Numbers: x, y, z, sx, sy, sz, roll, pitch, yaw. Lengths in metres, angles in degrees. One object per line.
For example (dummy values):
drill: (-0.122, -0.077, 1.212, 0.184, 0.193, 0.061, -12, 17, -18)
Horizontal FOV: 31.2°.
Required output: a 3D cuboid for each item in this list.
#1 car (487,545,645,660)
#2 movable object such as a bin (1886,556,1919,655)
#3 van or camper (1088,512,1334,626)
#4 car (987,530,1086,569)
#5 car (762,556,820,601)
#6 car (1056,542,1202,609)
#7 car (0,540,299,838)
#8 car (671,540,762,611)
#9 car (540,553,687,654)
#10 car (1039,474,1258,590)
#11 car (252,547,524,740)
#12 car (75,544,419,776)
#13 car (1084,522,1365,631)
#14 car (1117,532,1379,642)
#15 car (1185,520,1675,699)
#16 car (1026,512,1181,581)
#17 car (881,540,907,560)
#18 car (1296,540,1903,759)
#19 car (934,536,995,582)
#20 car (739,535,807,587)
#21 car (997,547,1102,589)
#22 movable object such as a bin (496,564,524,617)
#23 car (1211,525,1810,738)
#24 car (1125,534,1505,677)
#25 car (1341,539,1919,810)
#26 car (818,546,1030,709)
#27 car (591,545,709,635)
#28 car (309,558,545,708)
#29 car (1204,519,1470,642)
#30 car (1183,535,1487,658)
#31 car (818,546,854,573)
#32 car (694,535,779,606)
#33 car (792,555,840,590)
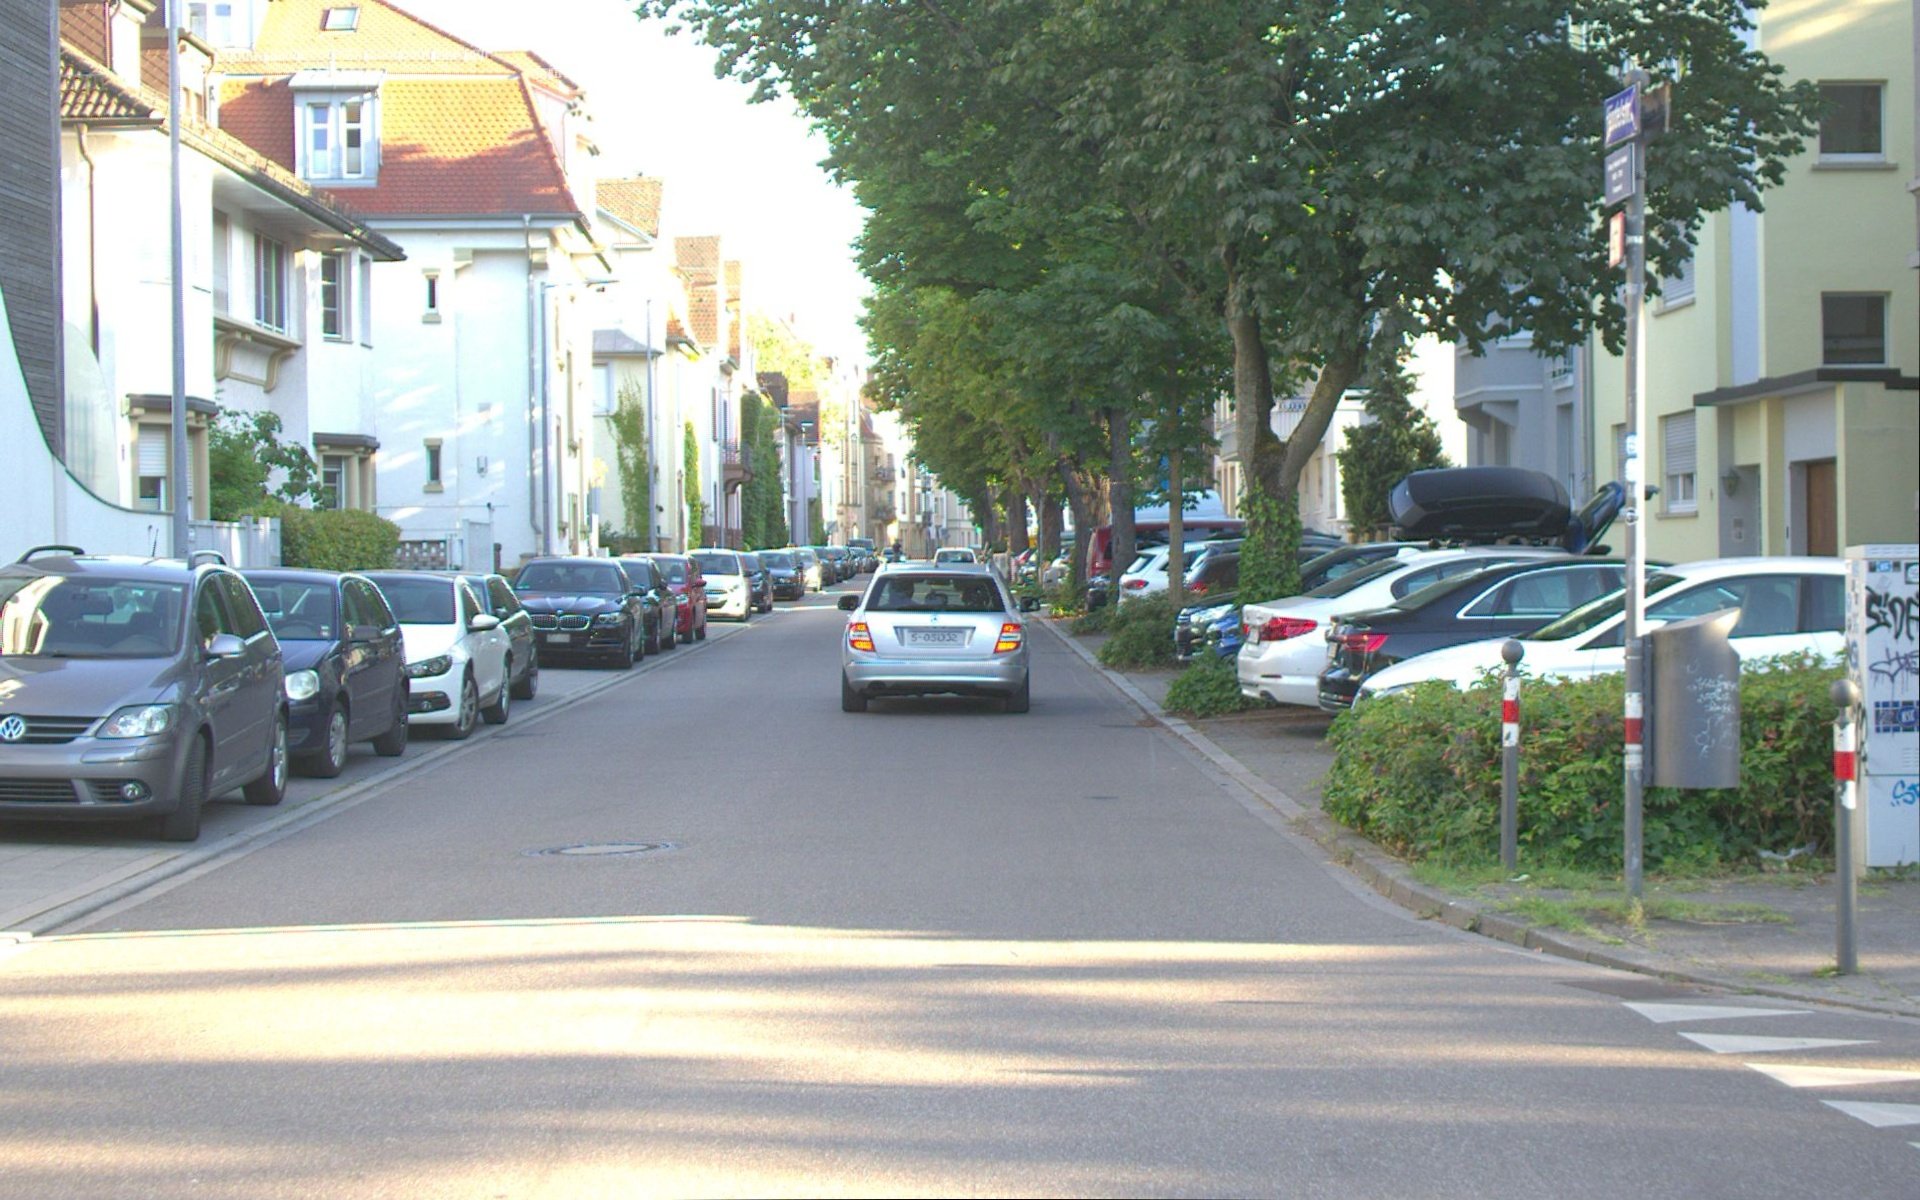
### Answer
car: (-5.341, 0.011, 47.053, 1.854, 1.492, 4.656, 0, 1, -3)
movable object such as a bin: (10.427, 0.061, 37.604, 0.456, 1.082, 0.532, 0, 0, 0)
van or camper: (4.456, -0.564, 61.438, 4.313, 2.007, 2.000, 0, 1, 3)
car: (2.980, -1.979, 134.059, 3.844, 1.477, 1.805, -1, 1, 1)
car: (-5.748, -0.753, 117.333, 1.799, 1.477, 3.857, 0, 1, 0)
car: (4.319, -0.646, 88.301, 3.594, 1.654, 1.650, -1, 1, -2)
car: (-5.188, 0.453, 20.450, 1.884, 1.585, 4.091, 0, 1, -2)
car: (-5.186, -0.528, 73.438, 1.659, 1.494, 3.754, 0, 1, 0)
car: (-5.315, 0.024, 53.215, 1.783, 1.492, 4.700, 0, 1, 0)
car: (4.953, -1.796, 91.091, 5.541, 2.958, 2.472, -1, 1, -2)
car: (-4.980, 0.331, 30.432, 1.884, 1.585, 4.091, 0, 1, -2)
car: (-5.240, 0.386, 25.766, 1.884, 1.585, 4.091, 0, 1, -2)
car: (4.473, -0.406, 58.627, 4.625, 1.830, 1.954, 0, 1, 0)
car: (4.290, -0.205, 51.565, 3.730, 1.553, 1.725, -1, 1, -1)
car: (4.571, 0.079, 33.910, 4.526, 1.635, 1.874, -1, 1, -1)
car: (4.310, -1.628, 104.159, 4.518, 2.007, 2.251, -1, 1, -2)
car: (-4.766, -3.598, 247.051, 1.799, 1.382, 3.606, 0, 1, 0)
car: (4.677, 0.343, 25.529, 4.142, 1.443, 1.673, -2, 1, -1)
car: (0.166, -1.343, 114.168, 1.817, 1.468, 4.216, -1, 0, 2)
car: (-5.473, -1.154, 100.869, 1.799, 1.477, 3.857, 0, 1, 0)
car: (3.327, -1.192, 127.887, 3.844, 1.477, 1.805, -1, 1, 1)
movable object such as a bin: (-9.505, -0.202, 72.663, 0.527, 1.103, 0.589, 0, 0, 0)
car: (4.465, 0.223, 28.270, 4.476, 1.520, 1.954, -2, 2, -6)
car: (4.101, 0.048, 40.201, 4.190, 1.553, 1.874, -1, 1, -1)
car: (4.452, 0.408, 20.725, 4.048, 1.500, 1.862, -1, 1, -1)
car: (-0.286, 0.248, 33.336, 1.817, 1.468, 4.216, -1, 0, 2)
car: (-5.281, -0.180, 58.871, 1.659, 1.483, 3.754, 0, 1, 0)
car: (-5.384, 0.302, 35.180, 1.758, 1.442, 4.142, 0, 1, 0)
car: (5.332, -0.288, 48.902, 3.547, 1.648, 1.725, -1, 1, -1)
car: (5.011, -0.061, 46.342, 3.925, 1.553, 1.725, -1, 1, 2)
car: (-6.569, -2.171, 181.975, 1.799, 1.382, 3.606, 0, 1, 0)
car: (-5.368, -0.728, 82.894, 1.799, 1.639, 3.857, 0, 1, 0)
car: (-5.896, -1.146, 140.924, 1.799, 1.382, 3.606, 0, 1, 0)
